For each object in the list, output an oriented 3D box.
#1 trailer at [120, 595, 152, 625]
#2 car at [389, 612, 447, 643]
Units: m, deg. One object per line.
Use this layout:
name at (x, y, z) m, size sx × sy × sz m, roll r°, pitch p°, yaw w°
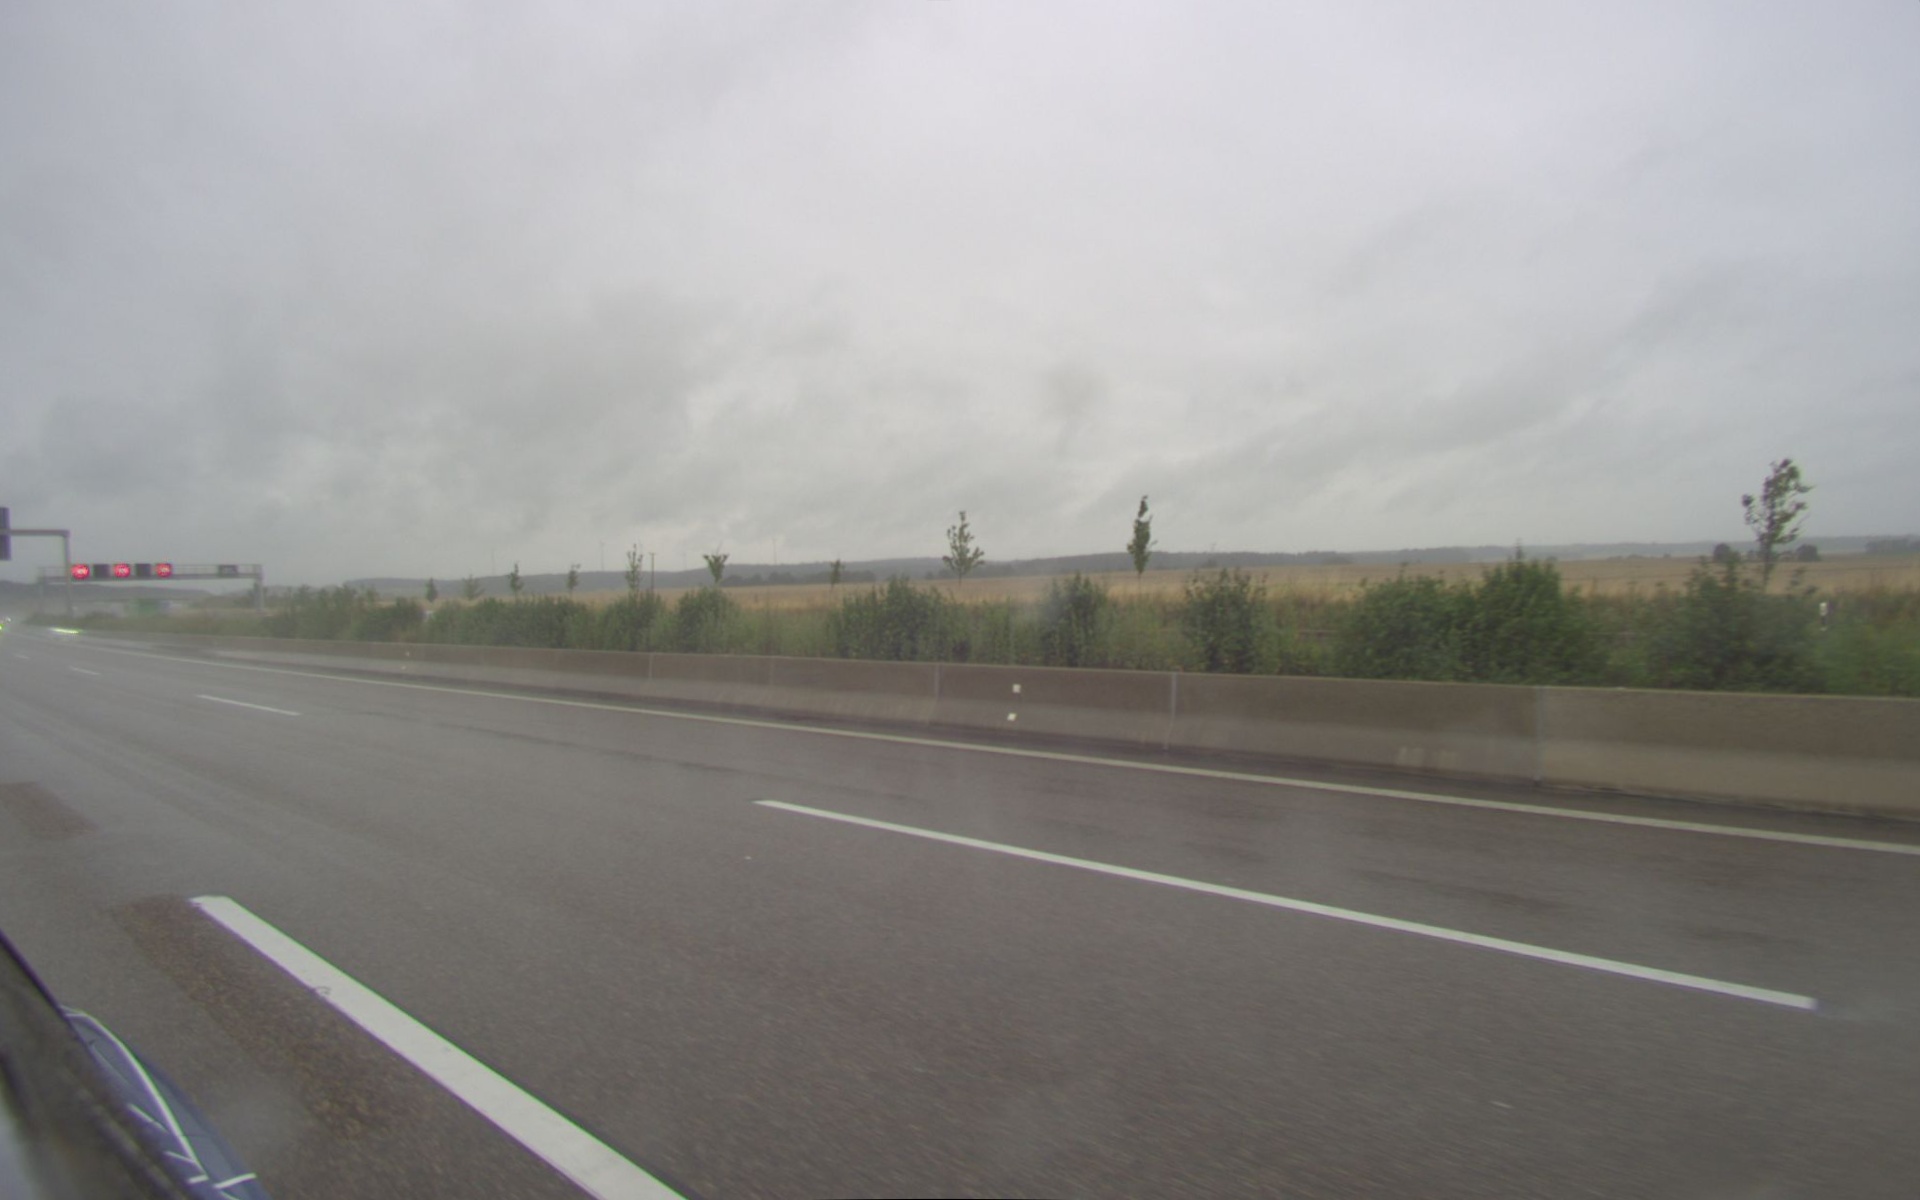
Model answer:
trailer at (-116.740, 1.511, 143.248) m, size 14.309 × 4.070 × 1.971 m, roll -1°, pitch -1°, yaw 45°
car at (-30.200, 1.515, 56.368) m, size 3.719 × 1.608 × 1.661 m, roll -1°, pitch -1°, yaw 42°
